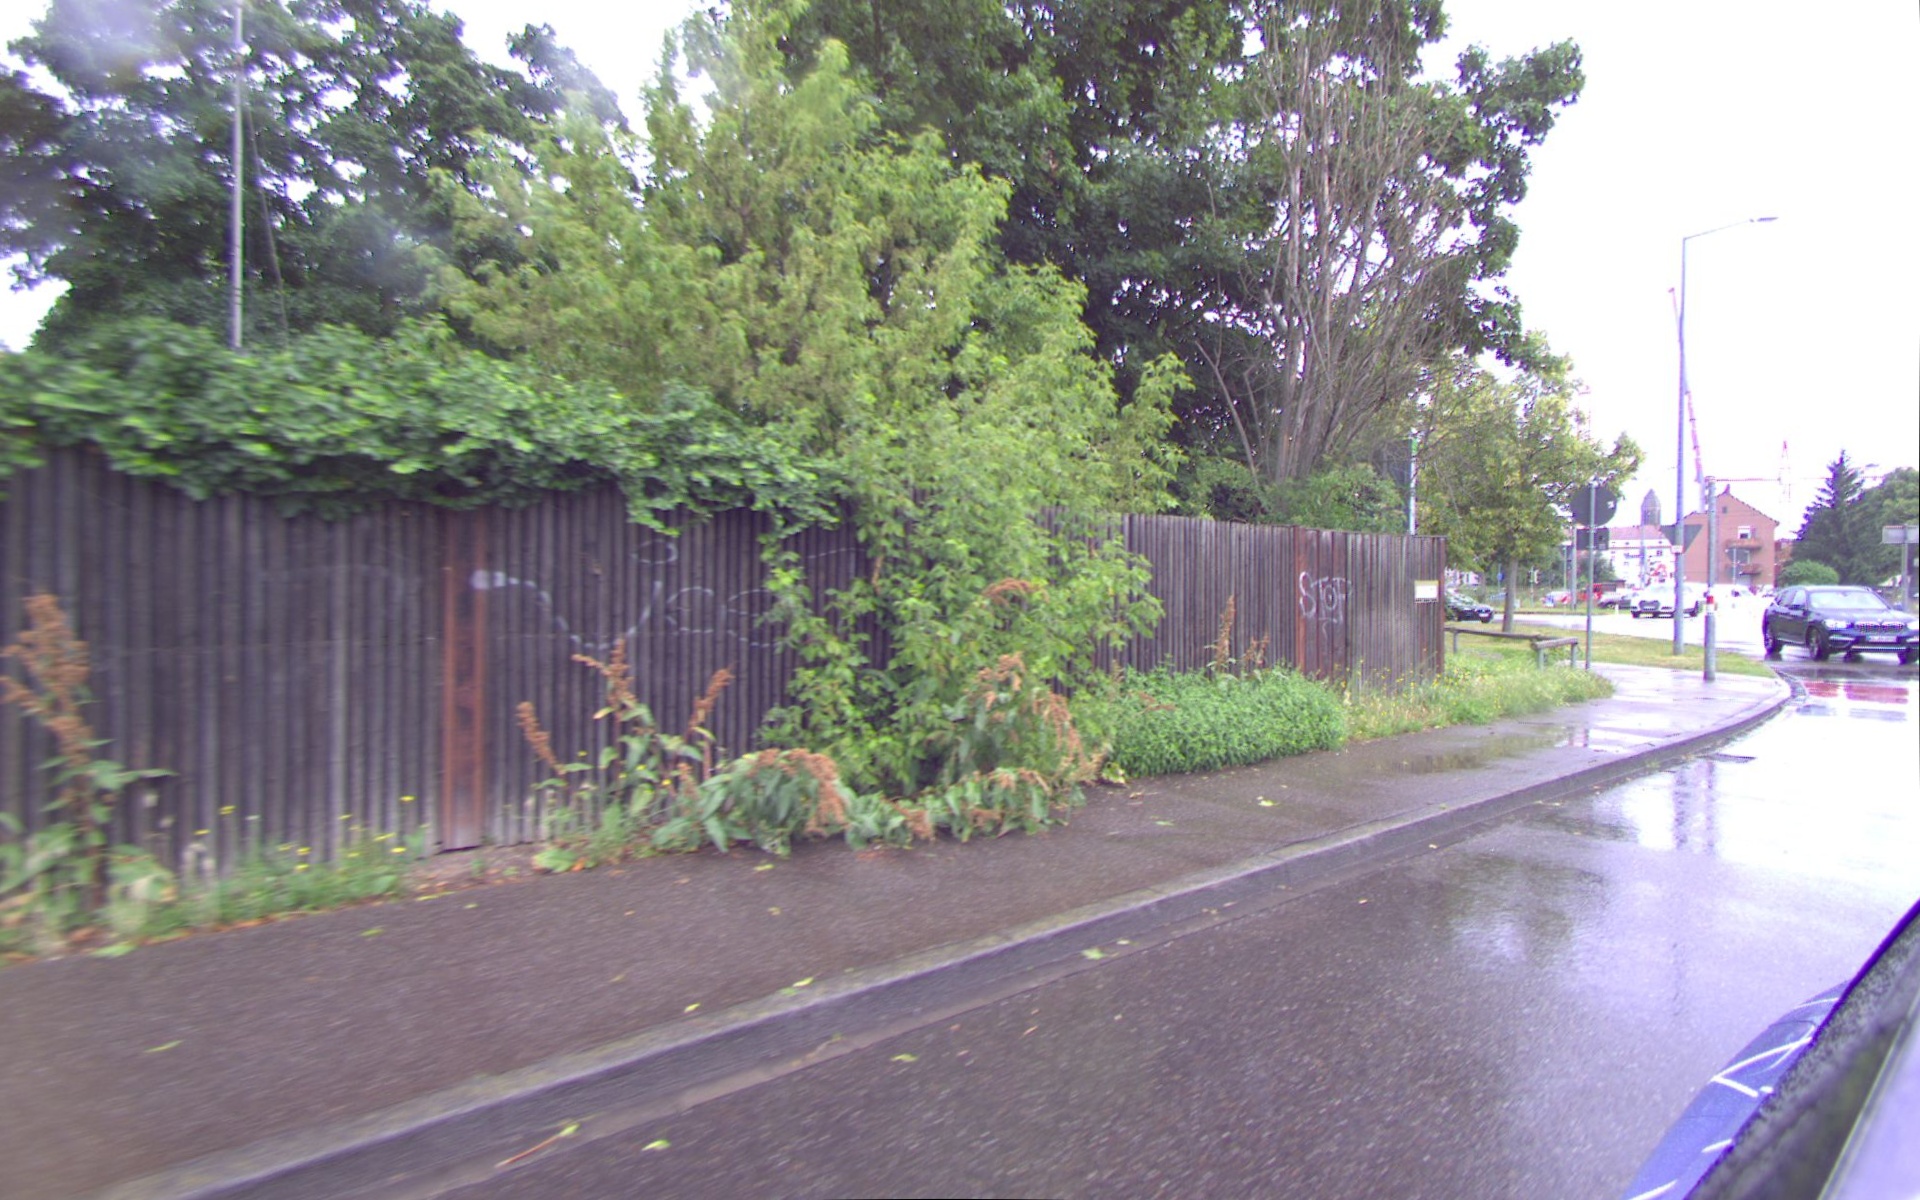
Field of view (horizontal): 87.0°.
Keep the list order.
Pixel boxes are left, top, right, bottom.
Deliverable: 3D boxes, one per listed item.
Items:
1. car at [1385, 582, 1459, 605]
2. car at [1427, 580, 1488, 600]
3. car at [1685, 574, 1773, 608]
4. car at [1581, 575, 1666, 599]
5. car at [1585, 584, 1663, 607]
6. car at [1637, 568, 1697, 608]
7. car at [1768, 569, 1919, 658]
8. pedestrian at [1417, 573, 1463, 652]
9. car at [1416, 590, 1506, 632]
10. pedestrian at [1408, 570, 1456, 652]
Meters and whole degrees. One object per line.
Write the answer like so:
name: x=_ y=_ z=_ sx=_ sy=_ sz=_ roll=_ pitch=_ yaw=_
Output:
car: x=36.067 y=-0.544 z=79.119 sx=1.799 sy=1.663 sz=5.020 roll=-3 pitch=3 yaw=-39
car: x=65.473 y=-1.358 z=133.249 sx=6.815 sy=2.507 sz=2.320 roll=1 pitch=1 yaw=44
car: x=73.891 y=-0.925 z=97.394 sx=2.308 sy=2.975 sz=6.442 roll=-2 pitch=2 yaw=-22
car: x=61.125 y=-1.265 z=93.415 sx=2.308 sy=2.038 sz=6.442 roll=-2 pitch=2 yaw=-22
car: x=46.426 y=-0.317 z=70.840 sx=4.513 sy=1.510 sz=1.594 roll=0 pitch=2 yaw=32
car: x=35.725 y=-0.633 z=51.095 sx=1.772 sy=1.765 sz=4.791 roll=0 pitch=3 yaw=44
car: x=20.630 y=0.226 z=23.499 sx=1.897 sy=1.768 sz=4.348 roll=-1 pitch=2 yaw=25
pedestrian: x=11.322 y=0.295 z=23.905 sx=0.913 sy=1.806 sz=0.802 roll=-1 pitch=2 yaw=23
car: x=24.036 y=0.490 z=48.757 sx=1.880 sy=1.768 sz=4.388 roll=-2 pitch=2 yaw=-4
pedestrian: x=10.678 y=0.243 z=22.911 sx=0.913 sy=1.806 sz=0.802 roll=-1 pitch=2 yaw=23
